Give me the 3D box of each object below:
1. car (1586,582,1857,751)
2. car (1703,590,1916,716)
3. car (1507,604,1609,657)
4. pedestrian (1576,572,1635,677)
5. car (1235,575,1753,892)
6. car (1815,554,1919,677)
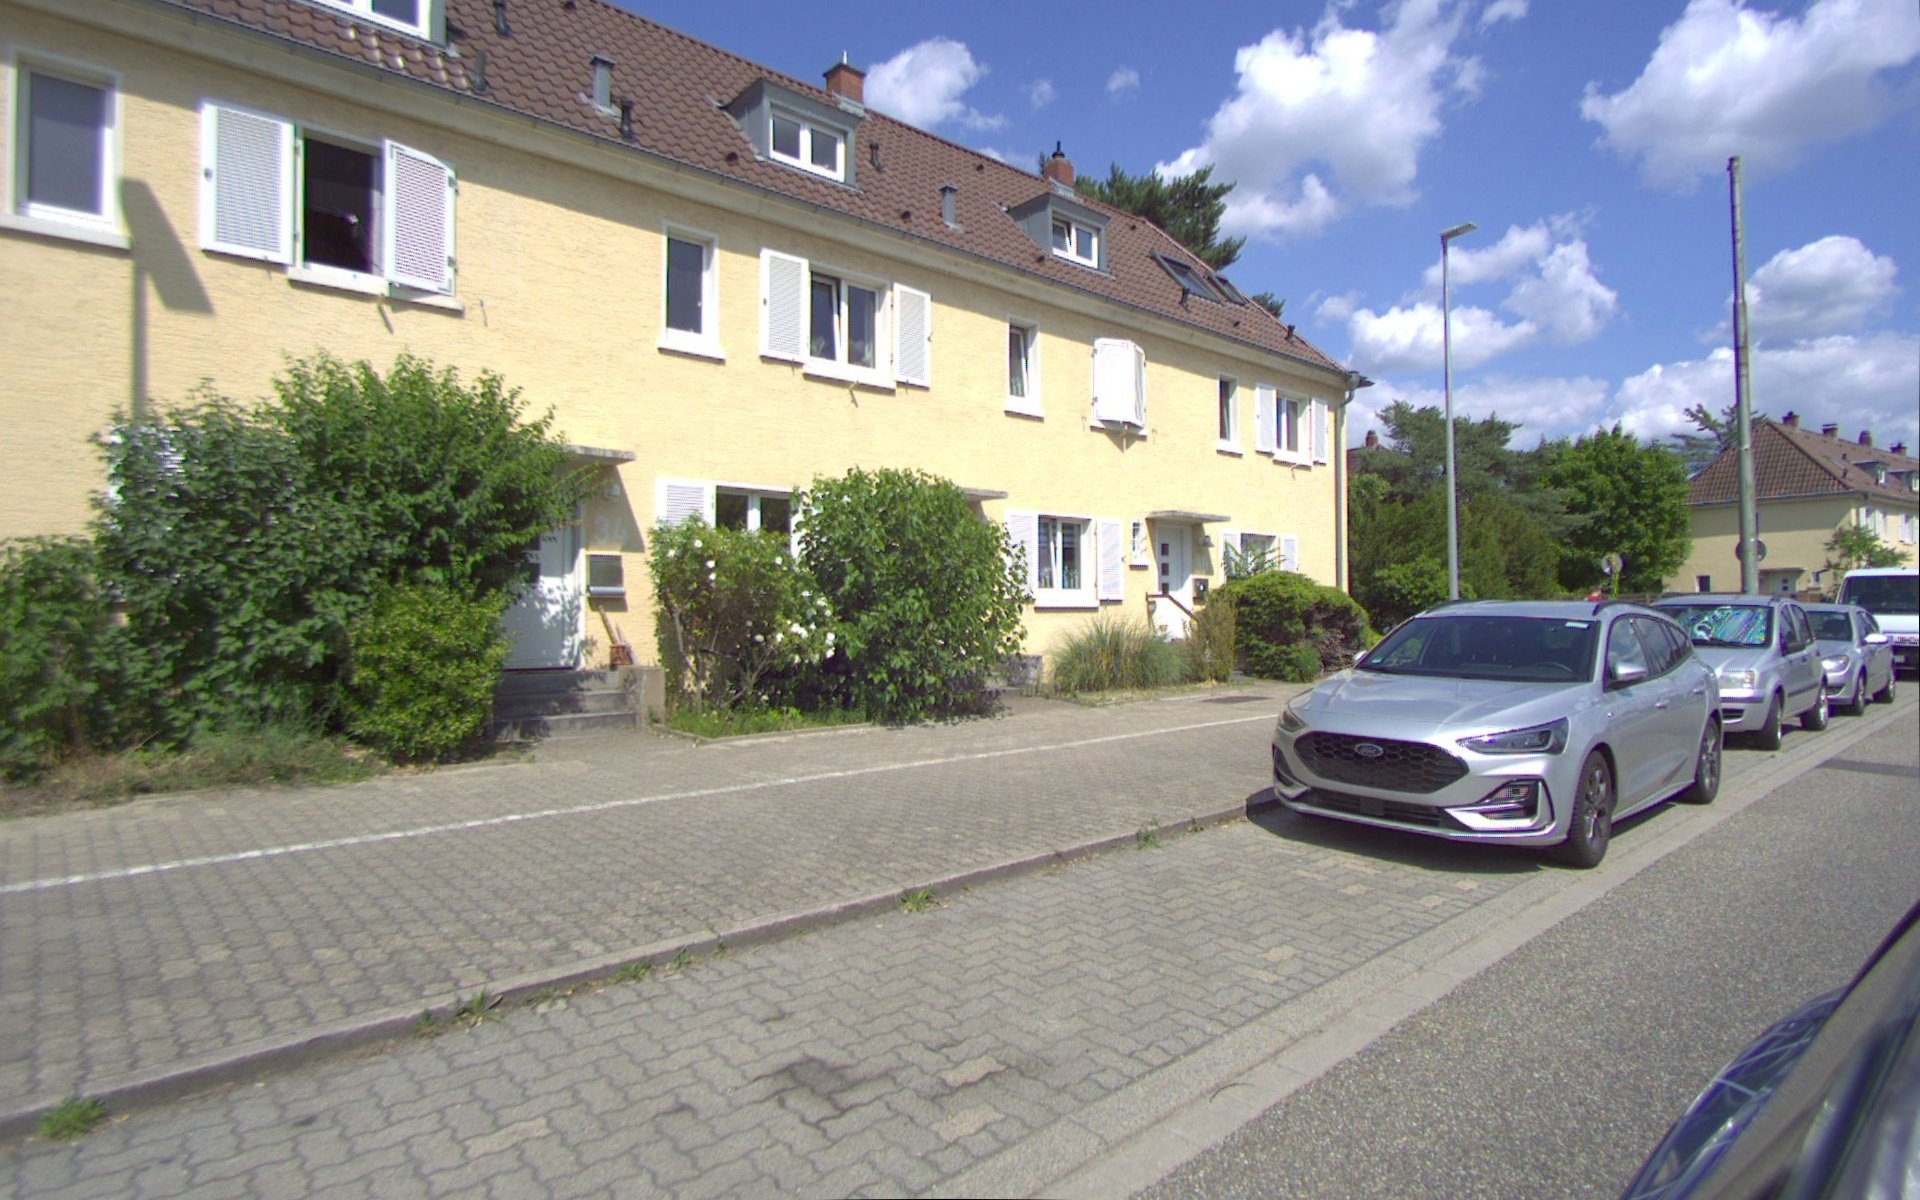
[{"bbox_3d":[8.534,0.618,11.239,3.742,1.569,1.631,0,0,-41],"label":"car"},{"bbox_3d":[12.091,0.644,14.311,4.181,1.523,1.710,0,0,-41],"label":"car"},{"bbox_3d":[19.235,0.946,32.502,3.741,1.567,1.631,-1,-1,-40],"label":"car"},{"bbox_3d":[12.933,0.478,20.274,0.748,2.039,0.774,0,-1,-39],"label":"pedestrian"},{"bbox_3d":[3.862,0.621,6.945,4.310,1.516,1.752,0,0,-42],"label":"car"},{"bbox_3d":[19.647,0.283,20.487,6.250,2.210,2.282,0,0,-37],"label":"car"}]
